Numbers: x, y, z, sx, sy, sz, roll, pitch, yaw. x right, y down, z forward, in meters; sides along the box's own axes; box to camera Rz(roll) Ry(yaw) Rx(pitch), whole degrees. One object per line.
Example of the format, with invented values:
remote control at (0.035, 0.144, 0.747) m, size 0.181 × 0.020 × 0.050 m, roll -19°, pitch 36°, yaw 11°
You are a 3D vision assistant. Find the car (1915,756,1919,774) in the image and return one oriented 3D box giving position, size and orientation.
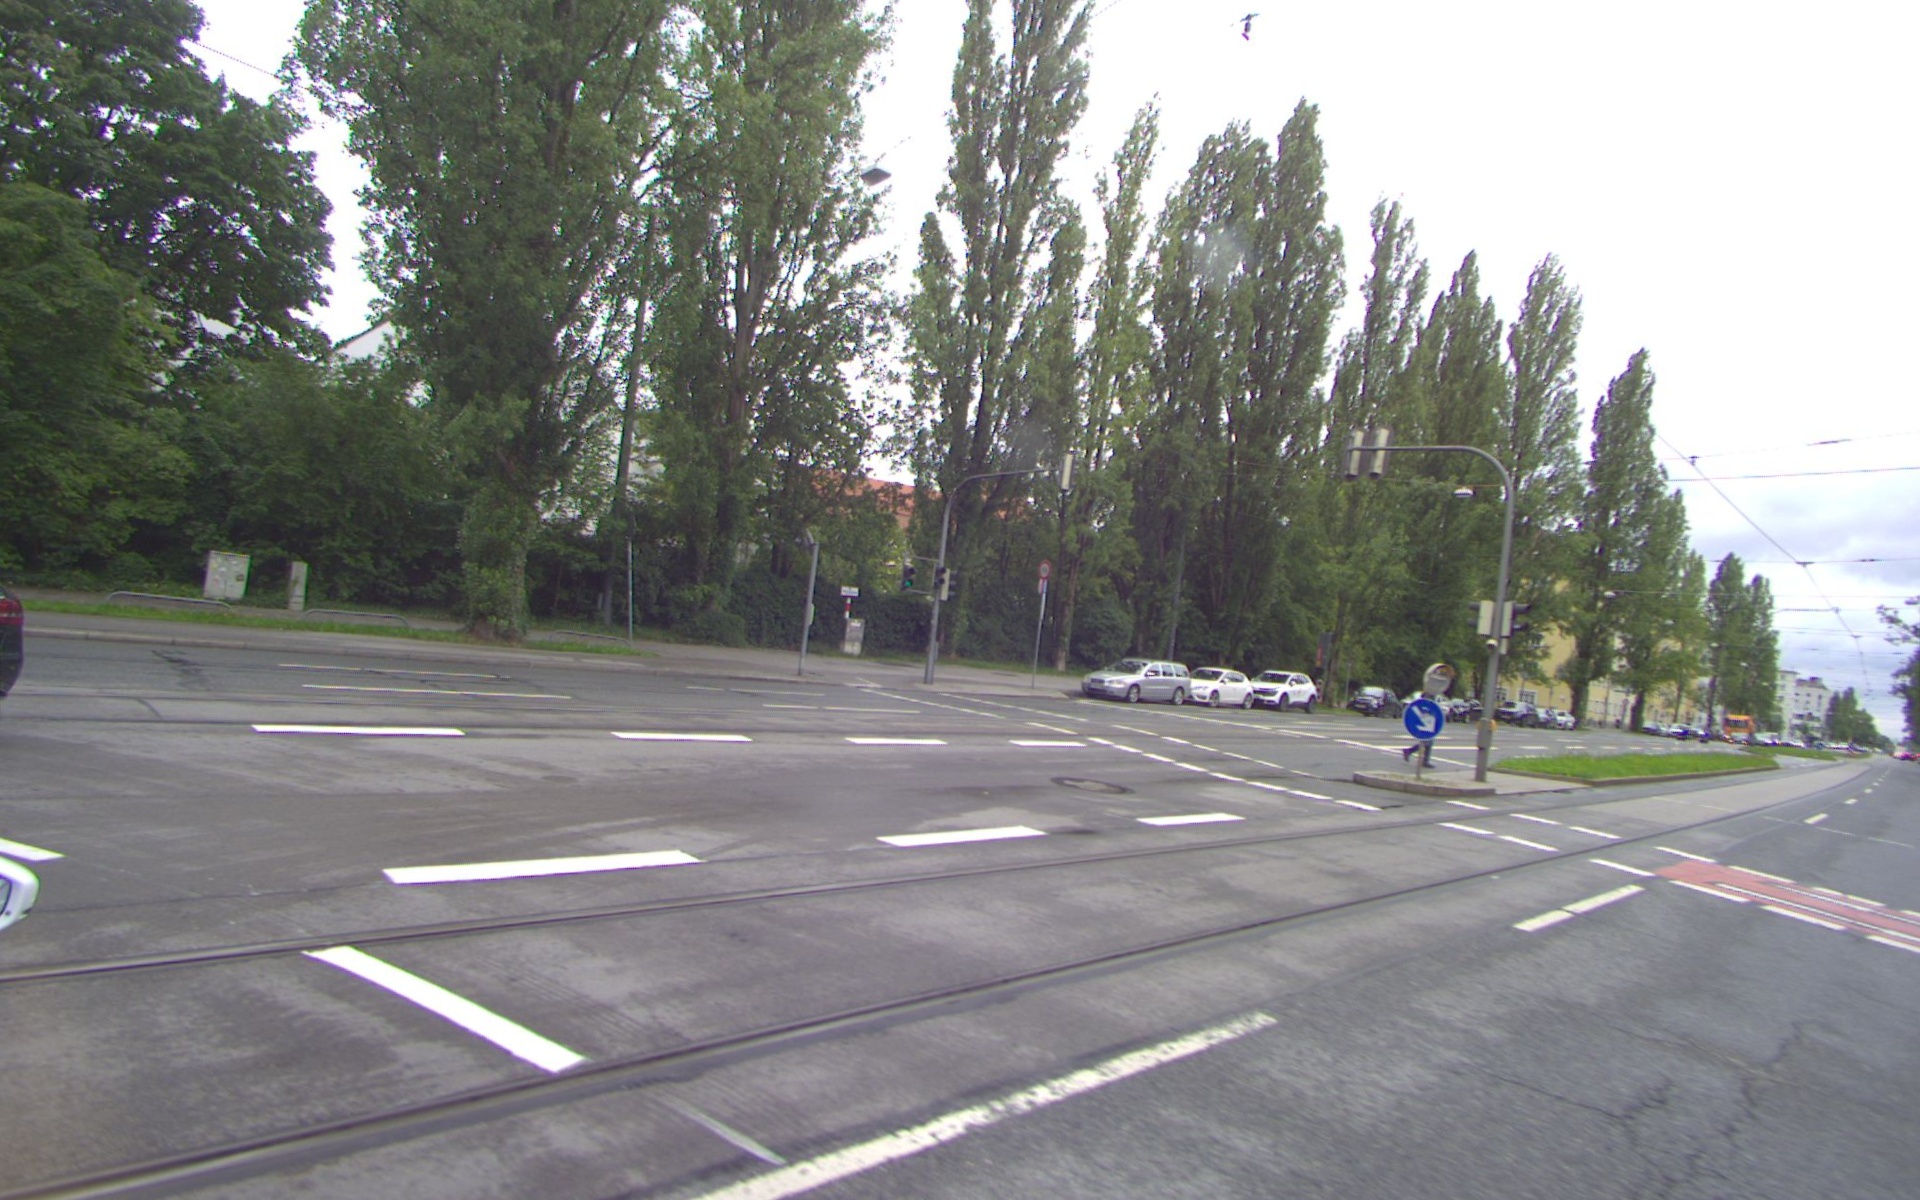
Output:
car at (101.470, 17.440, 105.404) m, size 1.794 × 1.736 × 3.985 m, roll 5°, pitch -4°, yaw 42°

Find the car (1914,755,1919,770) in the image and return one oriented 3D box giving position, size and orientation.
car at (122.645, 20.767, 127.743) m, size 1.973 × 1.724 × 3.985 m, roll 5°, pitch -4°, yaw 42°

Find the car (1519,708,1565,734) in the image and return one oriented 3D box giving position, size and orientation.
car at (41.329, 8.597, 71.356) m, size 1.764 × 1.503 × 4.117 m, roll 5°, pitch -2°, yaw 44°

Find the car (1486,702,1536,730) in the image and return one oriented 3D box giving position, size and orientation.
car at (36.540, 7.682, 66.658) m, size 1.764 × 1.503 × 4.117 m, roll 5°, pitch -2°, yaw 44°

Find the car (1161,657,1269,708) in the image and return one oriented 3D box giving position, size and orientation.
car at (9.546, 3.095, 37.519) m, size 4.232 × 1.503 × 1.766 m, roll 8°, pitch -2°, yaw -43°

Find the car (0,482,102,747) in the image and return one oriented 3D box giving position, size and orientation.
car at (-7.988, -0.225, 5.776) m, size 4.614 × 1.567 × 1.871 m, roll 8°, pitch -1°, yaw 6°

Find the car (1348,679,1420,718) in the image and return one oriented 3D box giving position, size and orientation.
car at (20.631, 4.808, 48.908) m, size 1.764 × 1.503 × 4.117 m, roll 5°, pitch -2°, yaw 44°

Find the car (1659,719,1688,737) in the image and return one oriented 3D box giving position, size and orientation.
car at (72.574, 13.058, 102.289) m, size 1.764 × 1.503 × 4.117 m, roll 5°, pitch -2°, yaw 44°

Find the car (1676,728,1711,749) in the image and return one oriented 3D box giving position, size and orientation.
car at (63.998, 12.058, 87.746) m, size 1.764 × 1.503 × 4.117 m, roll 5°, pitch -2°, yaw 44°

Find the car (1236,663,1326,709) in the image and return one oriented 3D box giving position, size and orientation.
car at (13.206, 3.533, 41.230) m, size 1.764 × 1.503 × 4.117 m, roll 5°, pitch -2°, yaw 44°

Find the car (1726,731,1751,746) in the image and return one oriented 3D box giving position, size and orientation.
car at (90.581, 16.118, 117.036) m, size 1.764 × 1.503 × 4.117 m, roll 5°, pitch -2°, yaw 44°

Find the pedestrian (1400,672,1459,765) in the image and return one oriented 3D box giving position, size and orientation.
pedestrian at (9.090, 2.283, 19.495) m, size 0.689 × 1.681 × 0.552 m, roll 7°, pitch -2°, yaw -1°

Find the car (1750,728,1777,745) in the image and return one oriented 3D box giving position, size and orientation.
car at (84.999, 14.469, 106.389) m, size 1.764 × 1.503 × 4.117 m, roll 5°, pitch -2°, yaw 44°

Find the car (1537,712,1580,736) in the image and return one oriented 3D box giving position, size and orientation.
car at (44.624, 9.270, 75.001) m, size 1.764 × 1.503 × 4.117 m, roll 5°, pitch -2°, yaw 44°

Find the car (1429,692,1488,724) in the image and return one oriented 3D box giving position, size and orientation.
car at (28.809, 6.261, 58.083) m, size 1.764 × 1.503 × 4.117 m, roll 5°, pitch -2°, yaw 44°

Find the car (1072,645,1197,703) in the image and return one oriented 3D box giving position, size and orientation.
car at (5.883, 2.486, 33.601) m, size 4.326 × 1.503 × 1.765 m, roll 8°, pitch -2°, yaw -43°

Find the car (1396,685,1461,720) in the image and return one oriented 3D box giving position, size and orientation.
car at (25.170, 5.519, 53.993) m, size 1.764 × 1.503 × 4.117 m, roll 5°, pitch -2°, yaw 44°
